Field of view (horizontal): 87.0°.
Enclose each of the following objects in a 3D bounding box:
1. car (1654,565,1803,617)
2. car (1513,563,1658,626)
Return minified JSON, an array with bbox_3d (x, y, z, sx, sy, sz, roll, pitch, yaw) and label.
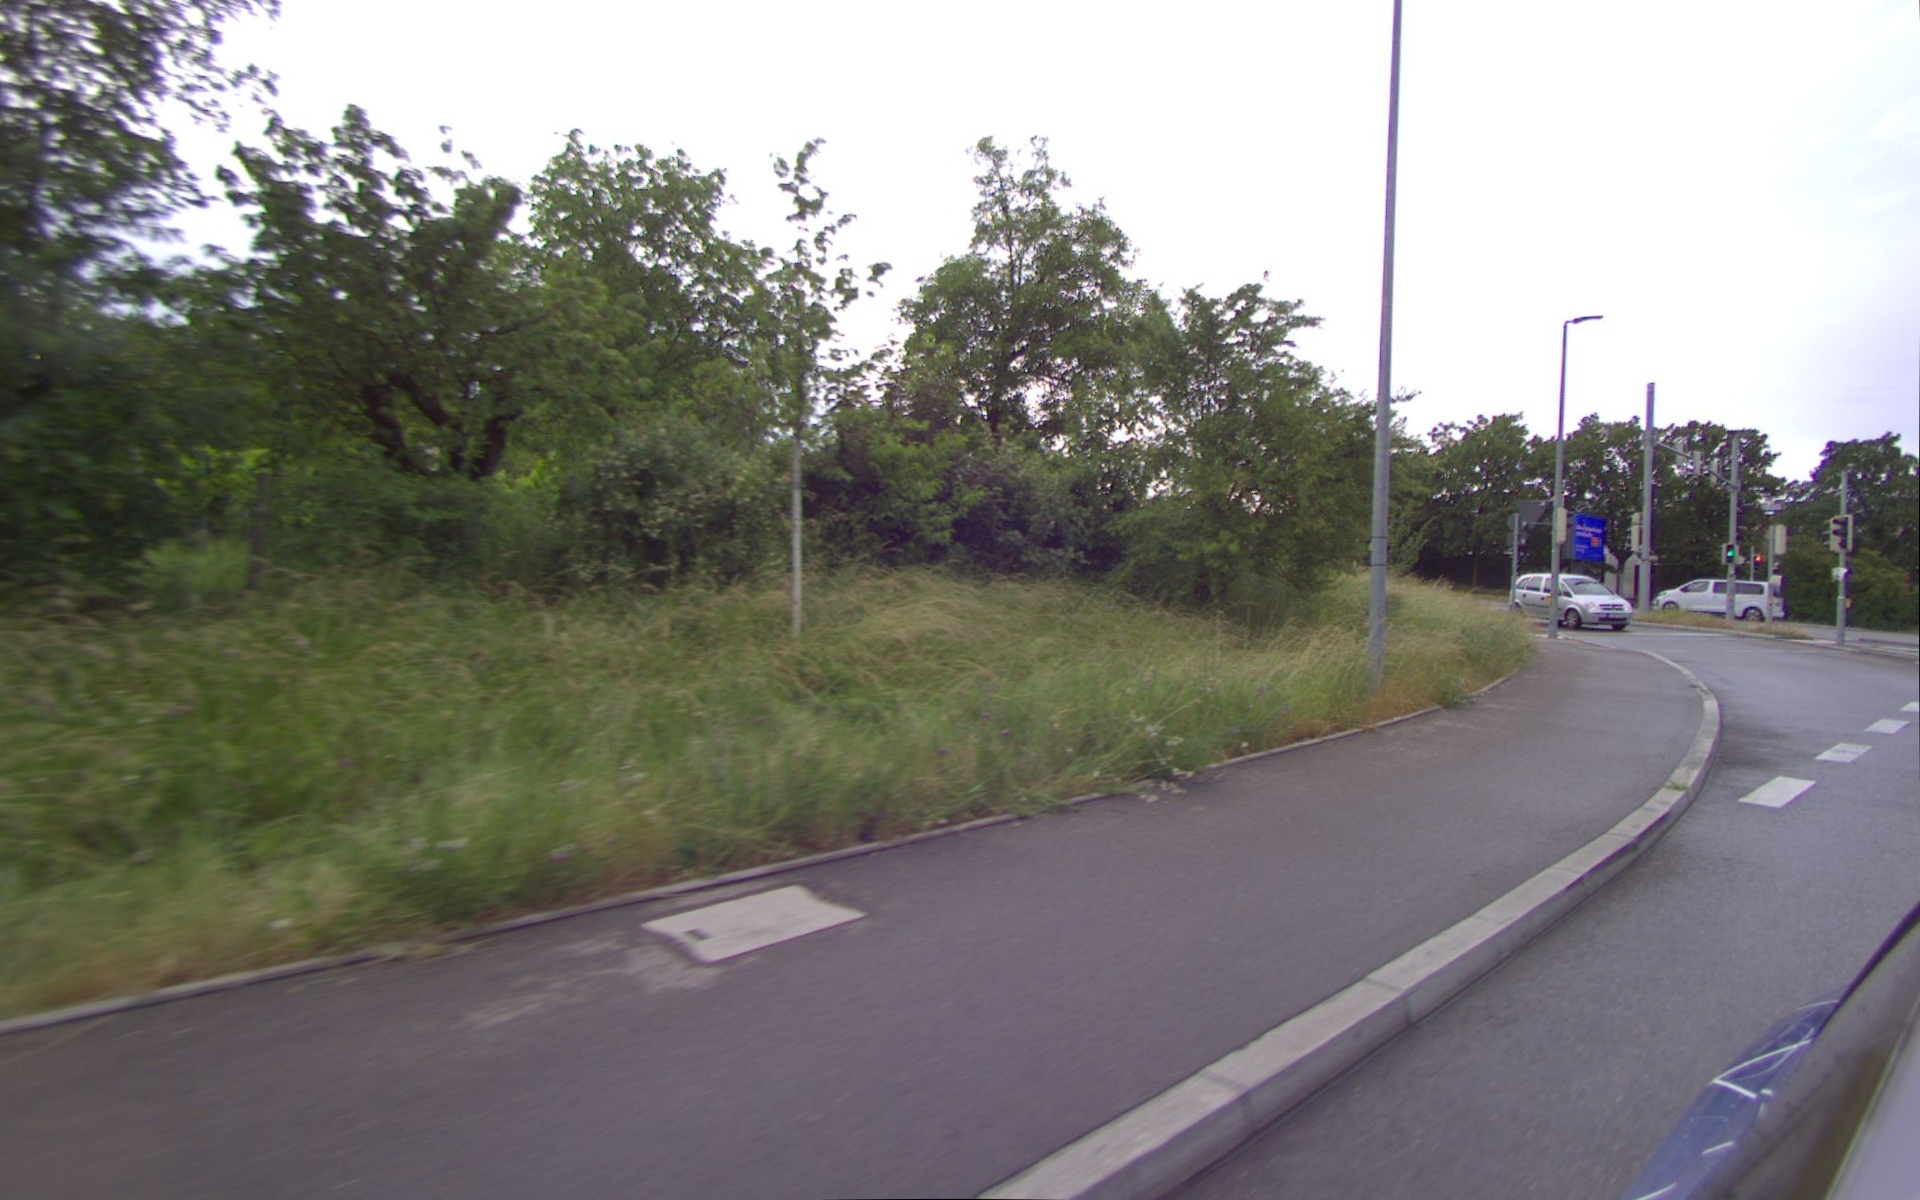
[{"bbox_3d":[36.078,-0.447,47.661,1.806,2.059,5.195,2,3,-36],"label":"car"},{"bbox_3d":[19.247,-0.231,31.364,1.787,1.623,4.069,-1,4,-3],"label":"car"}]
